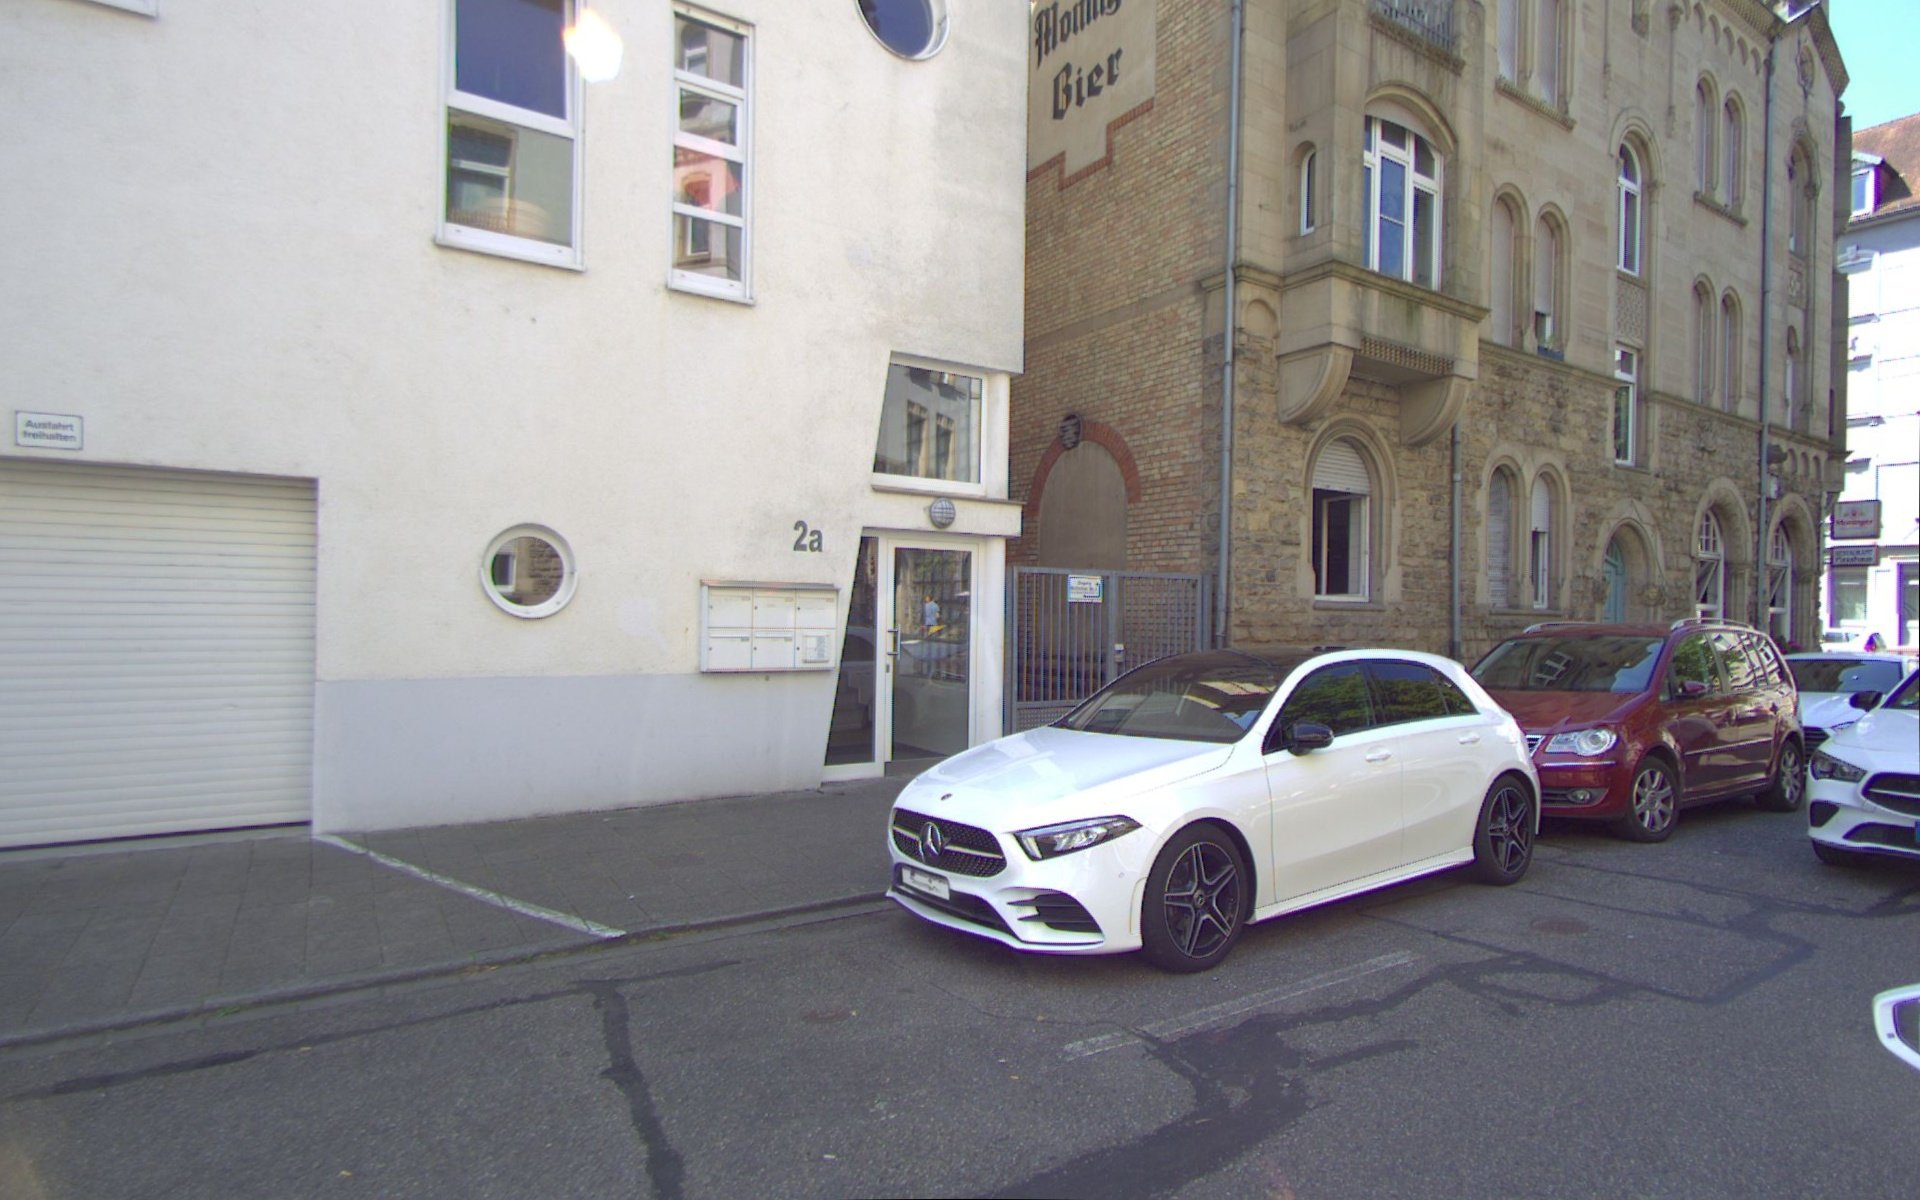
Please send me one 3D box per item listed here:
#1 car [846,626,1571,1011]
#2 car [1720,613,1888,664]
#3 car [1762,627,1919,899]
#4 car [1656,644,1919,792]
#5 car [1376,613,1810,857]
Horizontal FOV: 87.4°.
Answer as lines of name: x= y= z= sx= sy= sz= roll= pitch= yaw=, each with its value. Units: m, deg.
car: x=1.614 y=0.925 z=5.840 sx=4.236 sy=1.479 sz=1.765 roll=2 pitch=-3 yaw=-35
car: x=28.304 y=1.260 z=33.817 sx=1.788 sy=1.583 sz=4.022 roll=1 pitch=-1 yaw=-34
car: x=7.157 y=0.925 z=6.489 sx=4.316 sy=1.480 sz=1.831 roll=1 pitch=-3 yaw=-33
car: x=9.772 y=1.189 z=11.377 sx=4.471 sy=1.370 sz=1.690 roll=2 pitch=-3 yaw=-36
car: x=5.442 y=0.970 z=8.486 sx=4.012 sy=1.603 sz=1.662 roll=2 pitch=-3 yaw=-35
